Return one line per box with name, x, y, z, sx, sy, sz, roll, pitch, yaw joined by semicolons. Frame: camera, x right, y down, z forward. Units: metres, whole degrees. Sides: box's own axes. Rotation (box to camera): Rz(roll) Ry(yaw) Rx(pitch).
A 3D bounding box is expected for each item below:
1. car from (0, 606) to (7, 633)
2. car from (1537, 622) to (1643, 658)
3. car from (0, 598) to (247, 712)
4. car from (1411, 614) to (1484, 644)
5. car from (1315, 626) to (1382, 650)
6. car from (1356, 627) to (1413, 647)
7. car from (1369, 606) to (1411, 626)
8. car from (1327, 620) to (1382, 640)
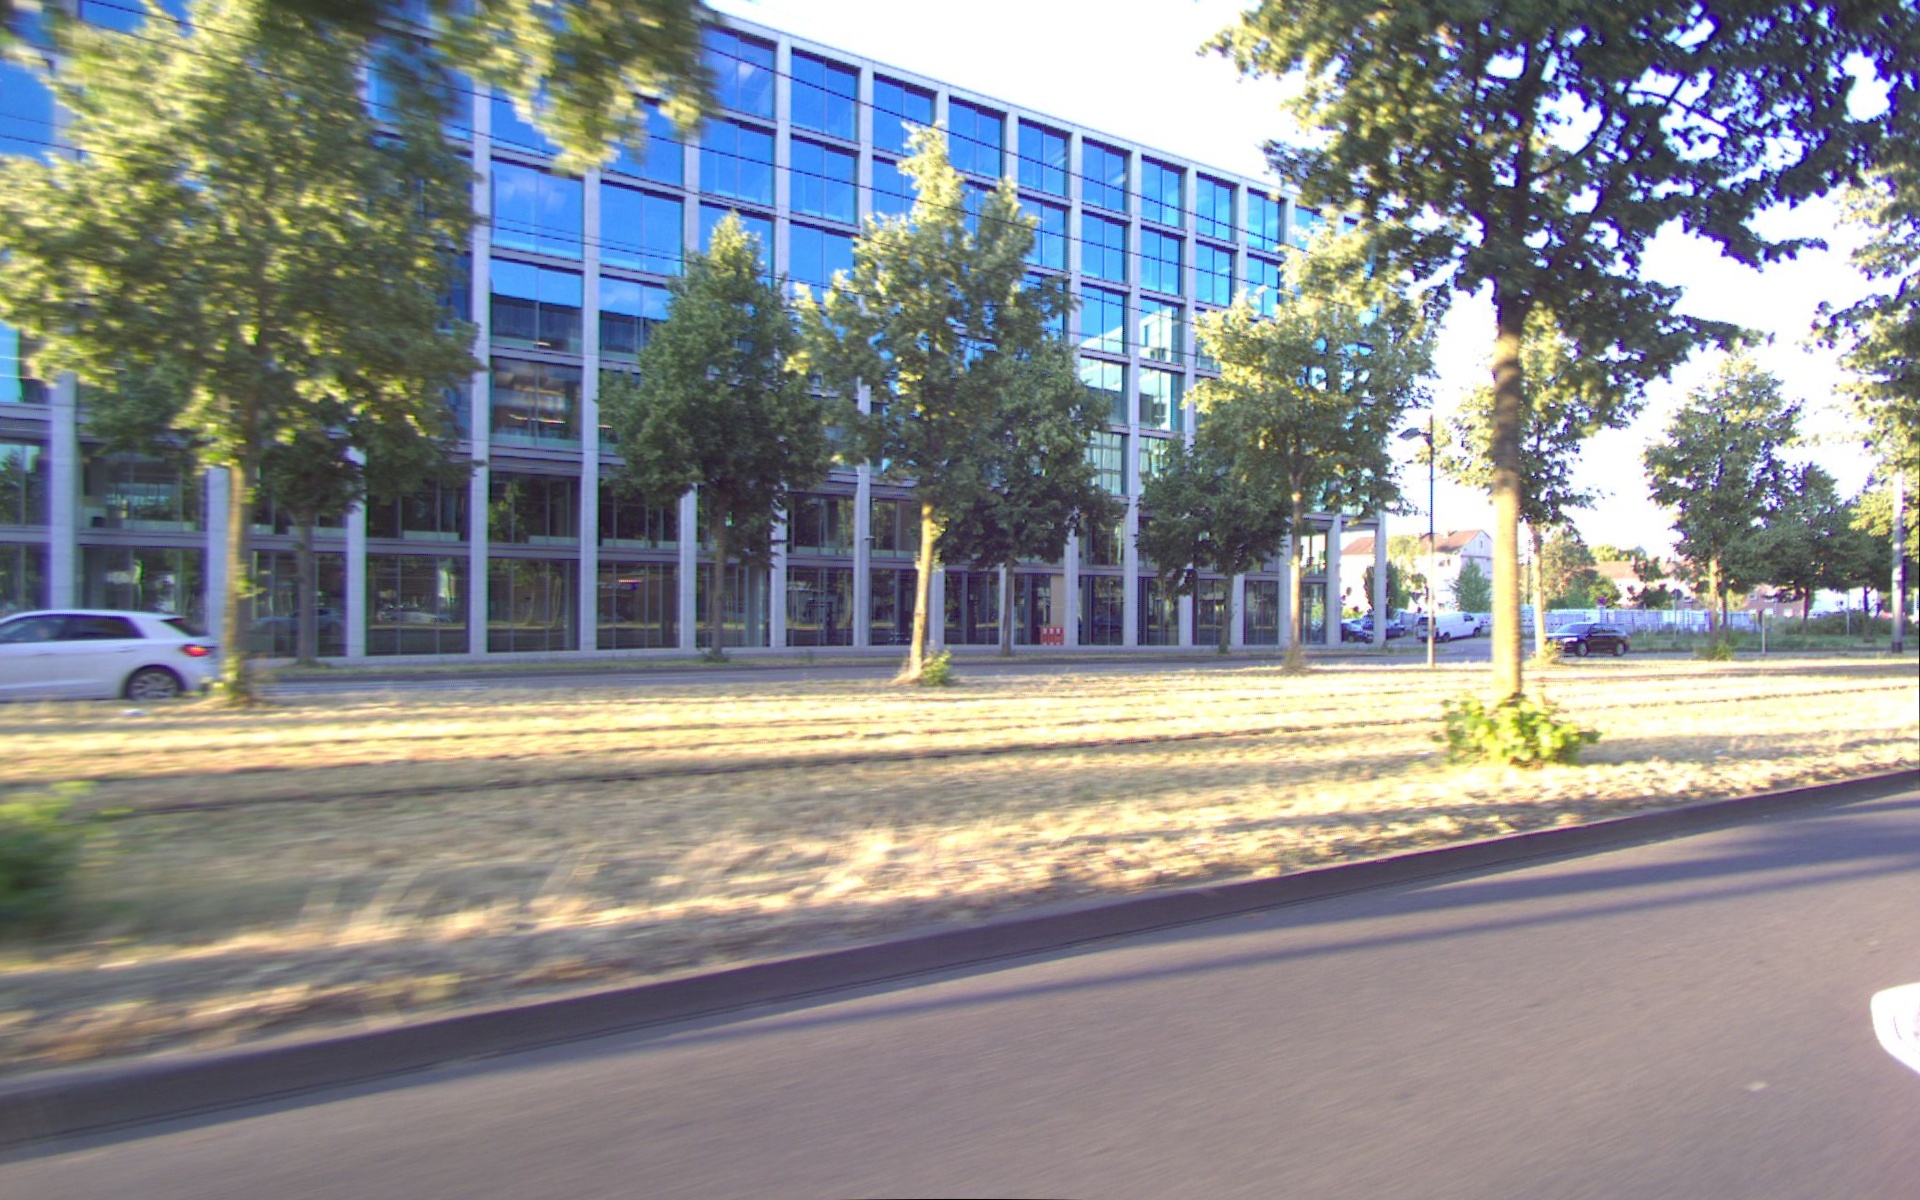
car;-62.446;1.198;62.606;3.946;1.686;1.988;1;0;-25
car;26.937;1.682;42.928;4.333;1.441;1.923;1;-1;-28
car;-12.918;0.732;14.095;4.579;1.505;1.892;1;-1;-32
car;34.591;2.034;71.212;5.023;2.040;2.196;1;-1;-30
car;25.953;2.539;67.229;1.869;1.465;3.973;1;-1;-26
car;32.244;2.819;76.260;3.952;1.437;1.984;1;-1;-30
car;43.746;1.617;102.266;4.263;2.008;1.788;1;-1;-31
car;31.099;2.389;79.196;3.952;1.530;1.984;1;-1;-30
